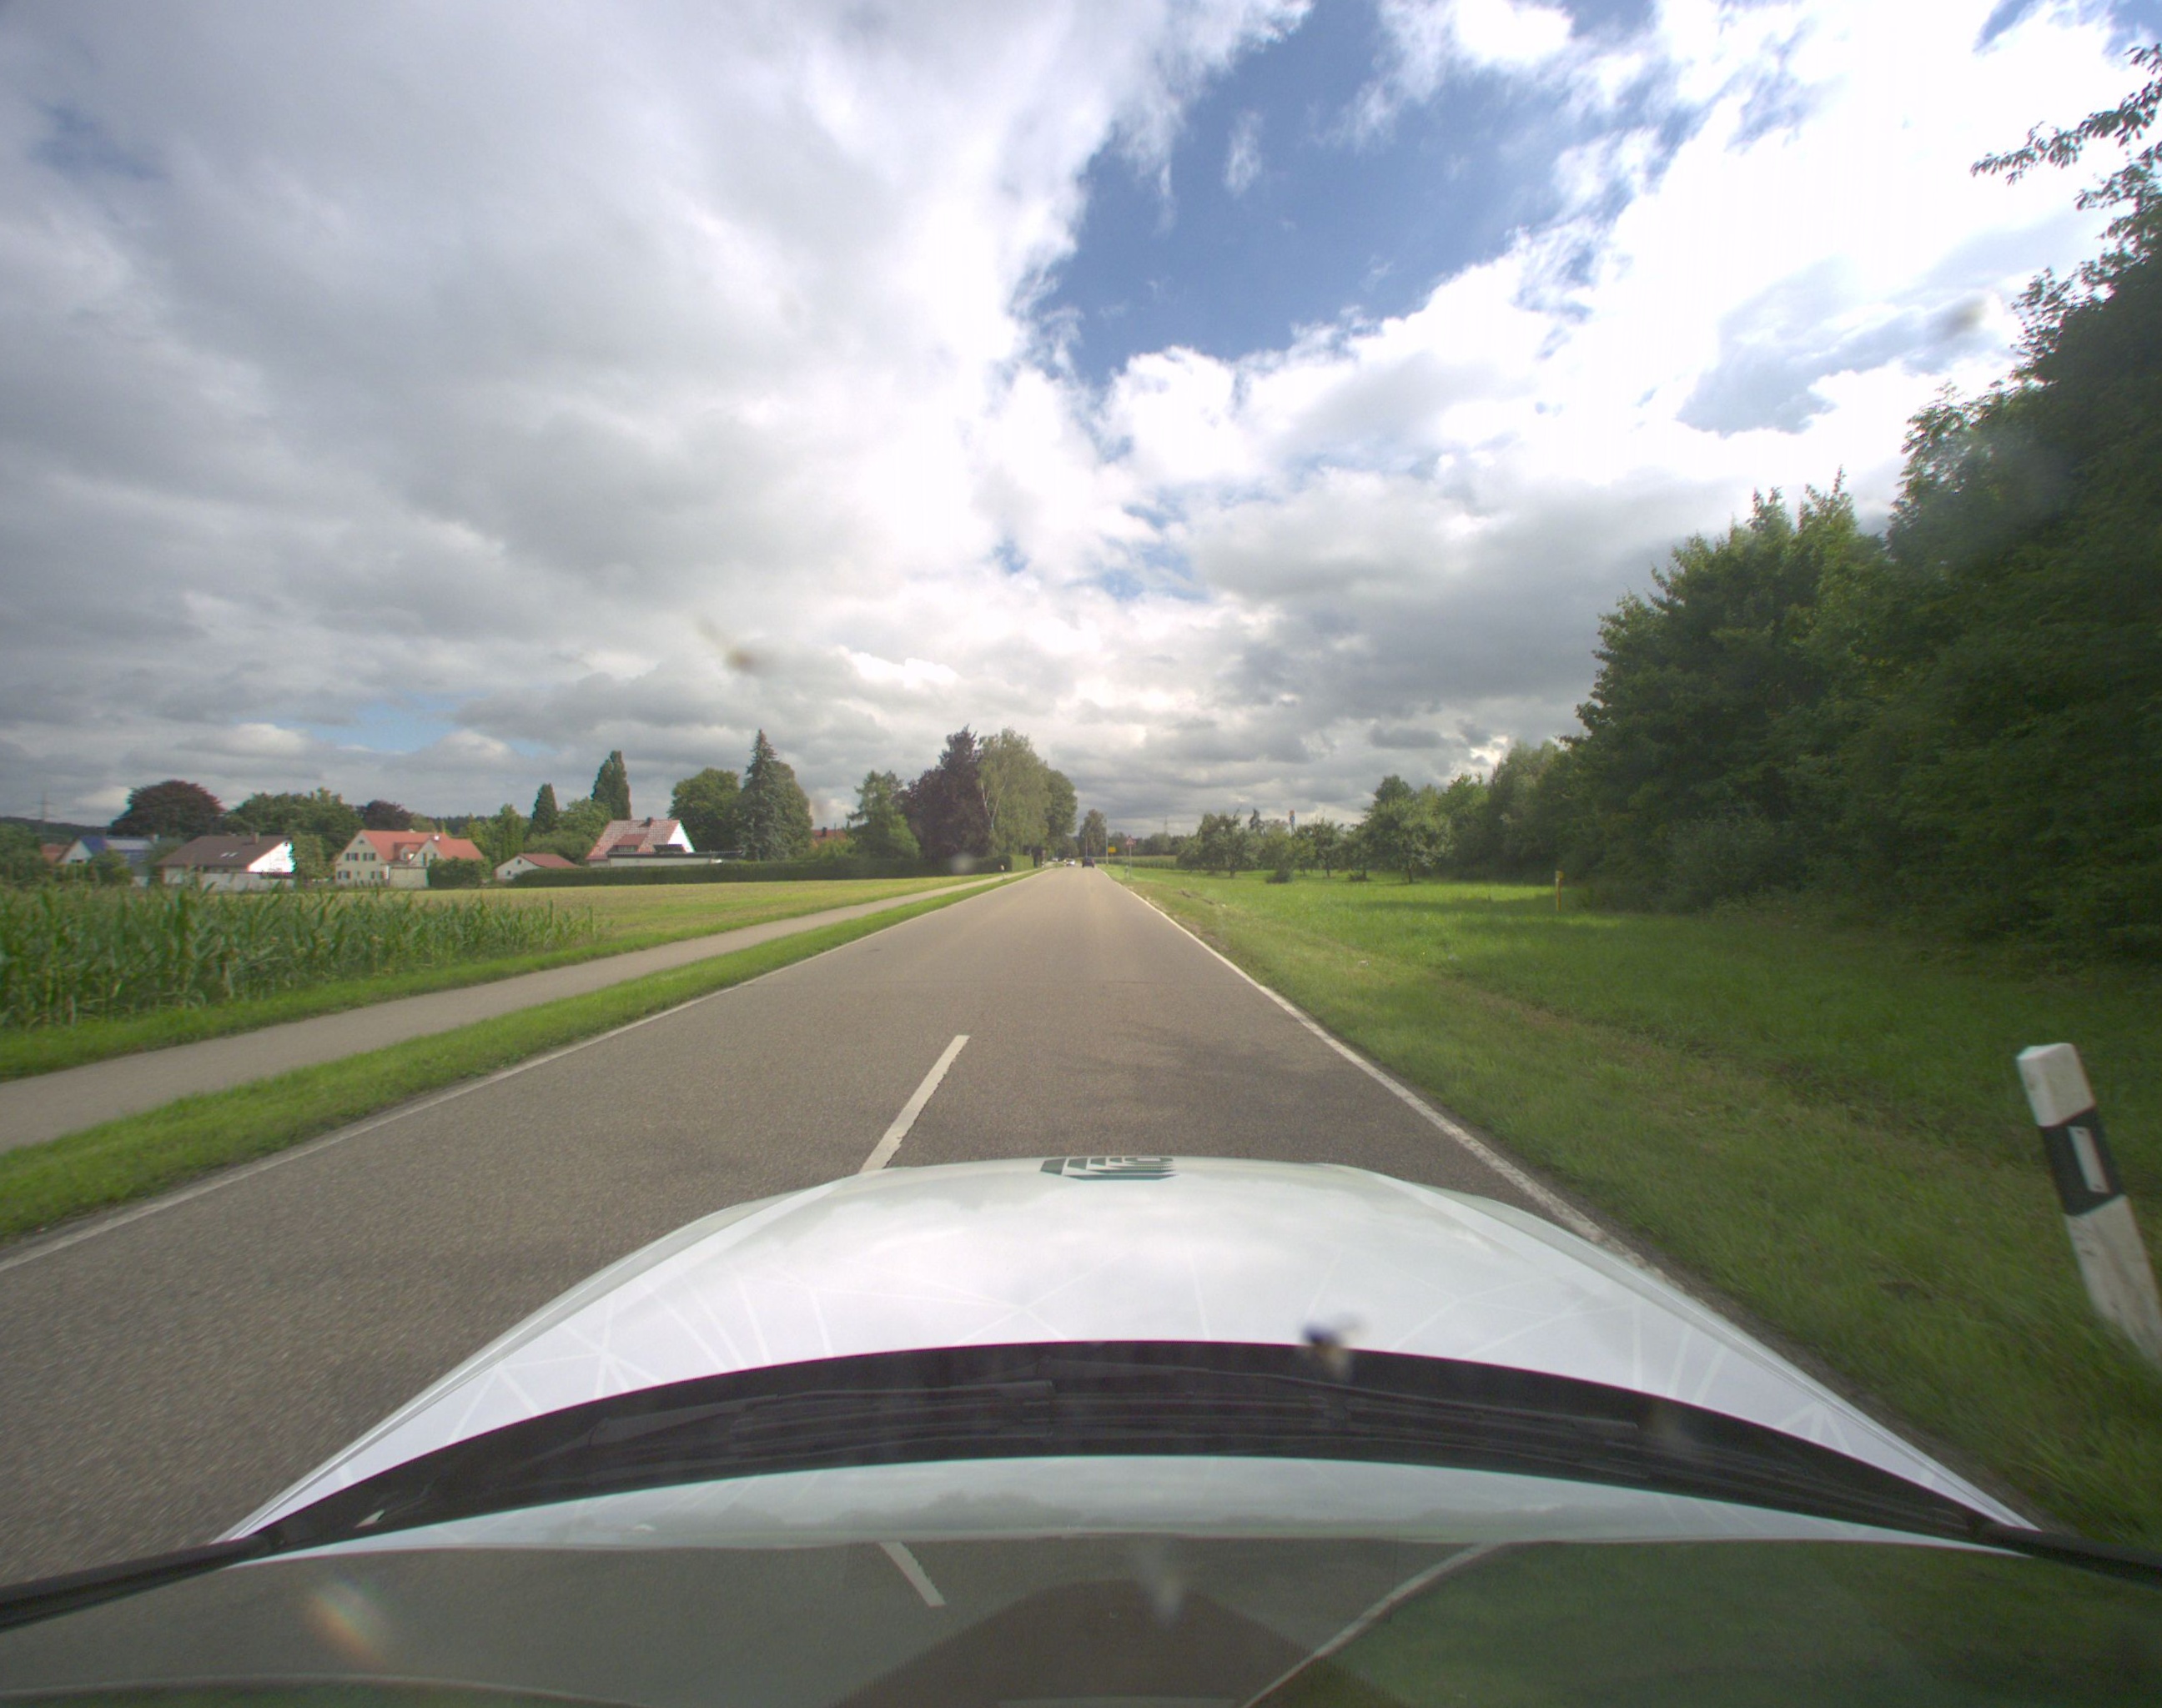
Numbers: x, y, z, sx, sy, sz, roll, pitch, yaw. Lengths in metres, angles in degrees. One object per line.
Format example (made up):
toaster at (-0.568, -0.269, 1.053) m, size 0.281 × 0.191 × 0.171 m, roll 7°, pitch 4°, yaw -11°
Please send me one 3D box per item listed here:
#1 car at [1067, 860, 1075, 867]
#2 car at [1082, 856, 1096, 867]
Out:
car at (-2.064, 1.928, 167.209) m, size 1.689 × 1.459 × 3.543 m, roll -2°, pitch 0°, yaw 0°
car at (1.241, 1.141, 123.391) m, size 1.900 × 1.666 × 4.001 m, roll -2°, pitch 0°, yaw 1°
